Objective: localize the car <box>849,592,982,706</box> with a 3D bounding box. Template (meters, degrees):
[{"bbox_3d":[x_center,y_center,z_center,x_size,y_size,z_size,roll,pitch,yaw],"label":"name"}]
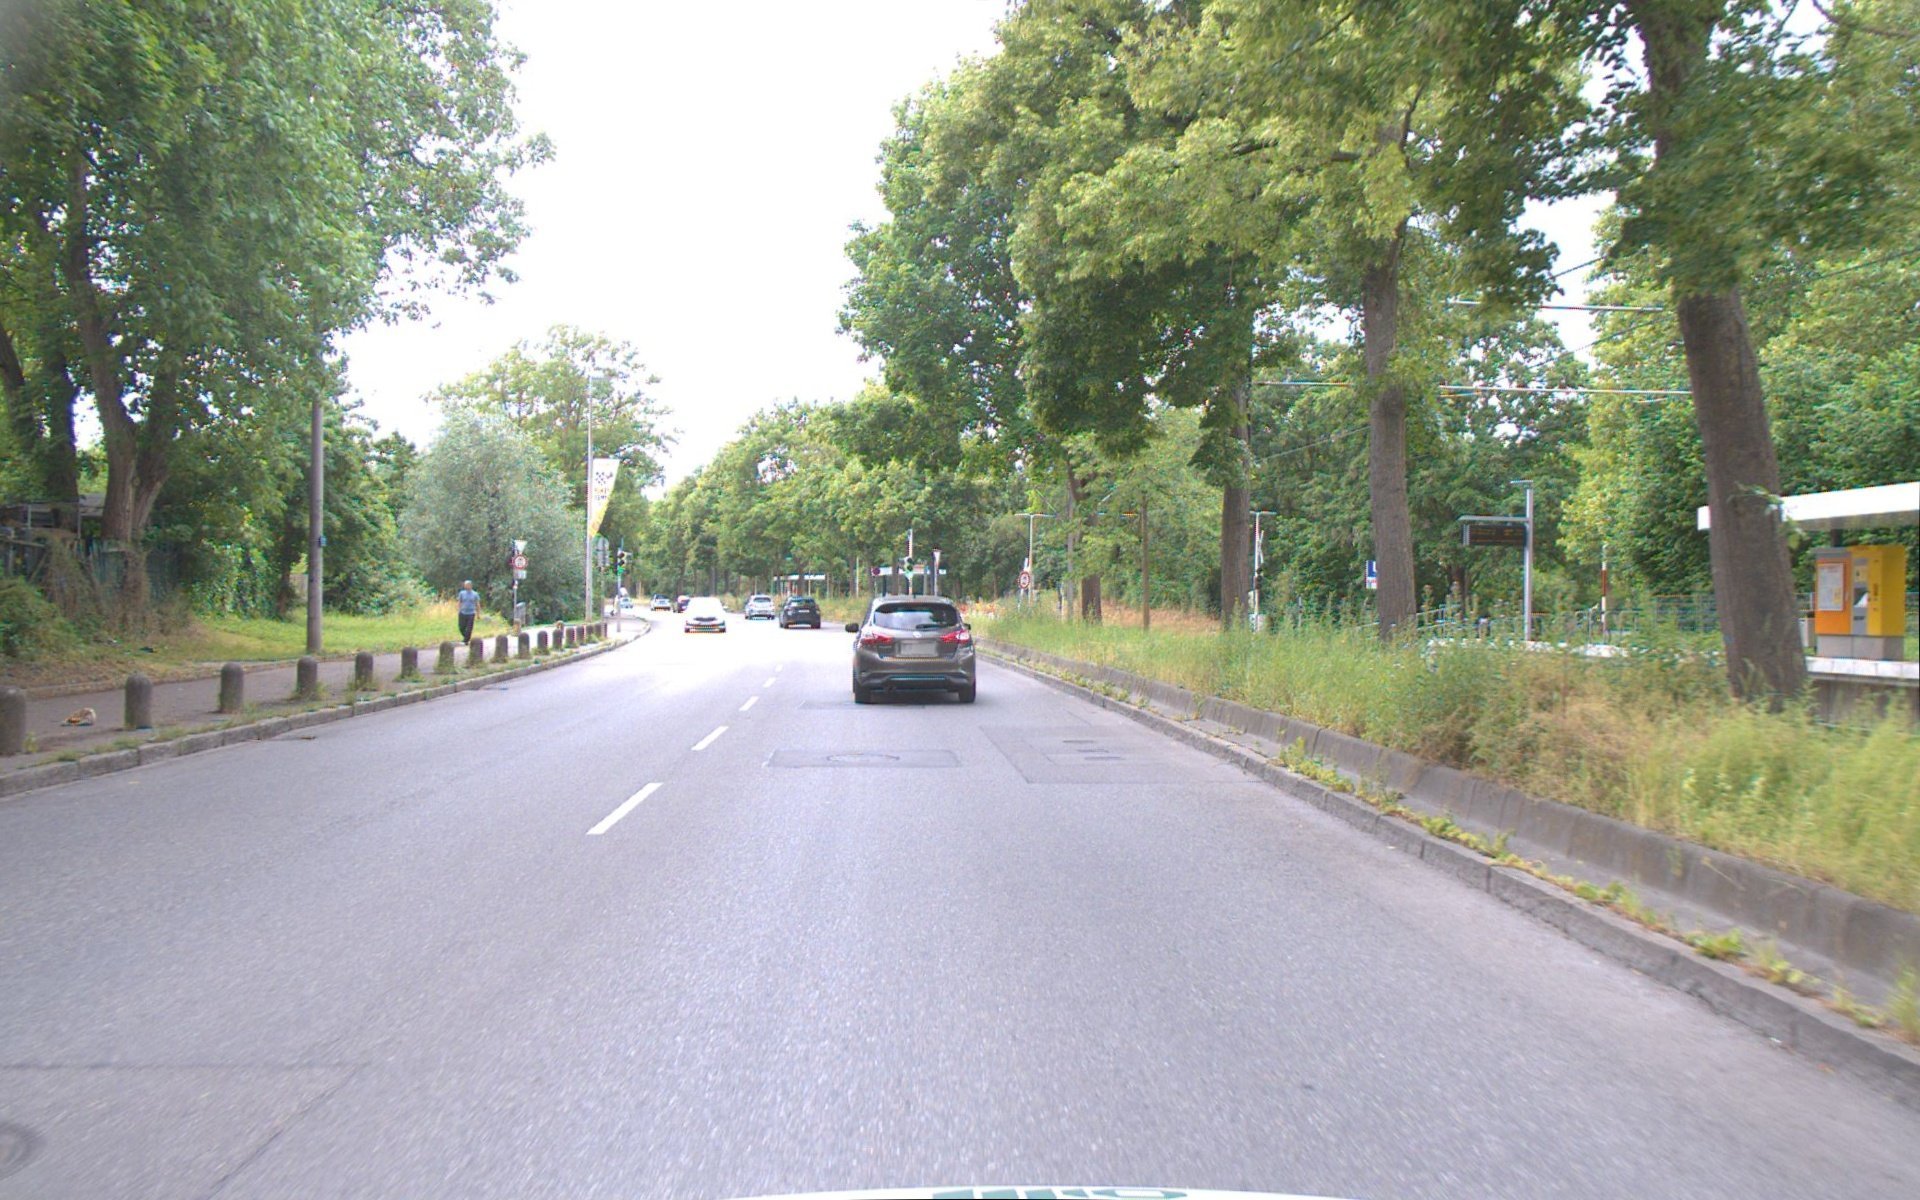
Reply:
[{"bbox_3d":[-0.593,0.668,24.989,1.778,1.534,4.001,0,1,1],"label":"car"}]

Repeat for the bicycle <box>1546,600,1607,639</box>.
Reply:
[{"bbox_3d":[16.659,0.532,44.672,1.480,0.990,0.449,2,0,-8],"label":"bicycle"}]

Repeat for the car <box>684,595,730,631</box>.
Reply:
[{"bbox_3d":[-10.925,0.545,71.515,1.739,1.464,4.355,-1,0,-6],"label":"car"}]

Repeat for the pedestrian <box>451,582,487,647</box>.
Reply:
[{"bbox_3d":[-12.815,0.385,43.206,0.676,1.663,0.837,2,0,-5],"label":"pedestrian"}]

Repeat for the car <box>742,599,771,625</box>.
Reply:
[{"bbox_3d":[-12.868,0.750,104.669,1.742,1.498,3.994,2,0,-7],"label":"car"}]

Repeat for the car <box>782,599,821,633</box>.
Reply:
[{"bbox_3d":[-7.516,0.753,78.289,1.742,1.498,3.994,2,0,-6],"label":"car"}]

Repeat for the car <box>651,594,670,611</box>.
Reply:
[{"bbox_3d":[-28.562,0.243,157.852,1.743,1.498,3.991,1,0,-10],"label":"car"}]

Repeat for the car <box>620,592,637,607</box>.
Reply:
[{"bbox_3d":[-35.783,-0.066,178.469,1.744,1.498,3.989,2,0,-11],"label":"car"}]

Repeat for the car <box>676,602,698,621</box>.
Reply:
[{"bbox_3d":[-23.331,0.965,141.349,1.743,1.498,3.992,3,-1,-9],"label":"car"}]
